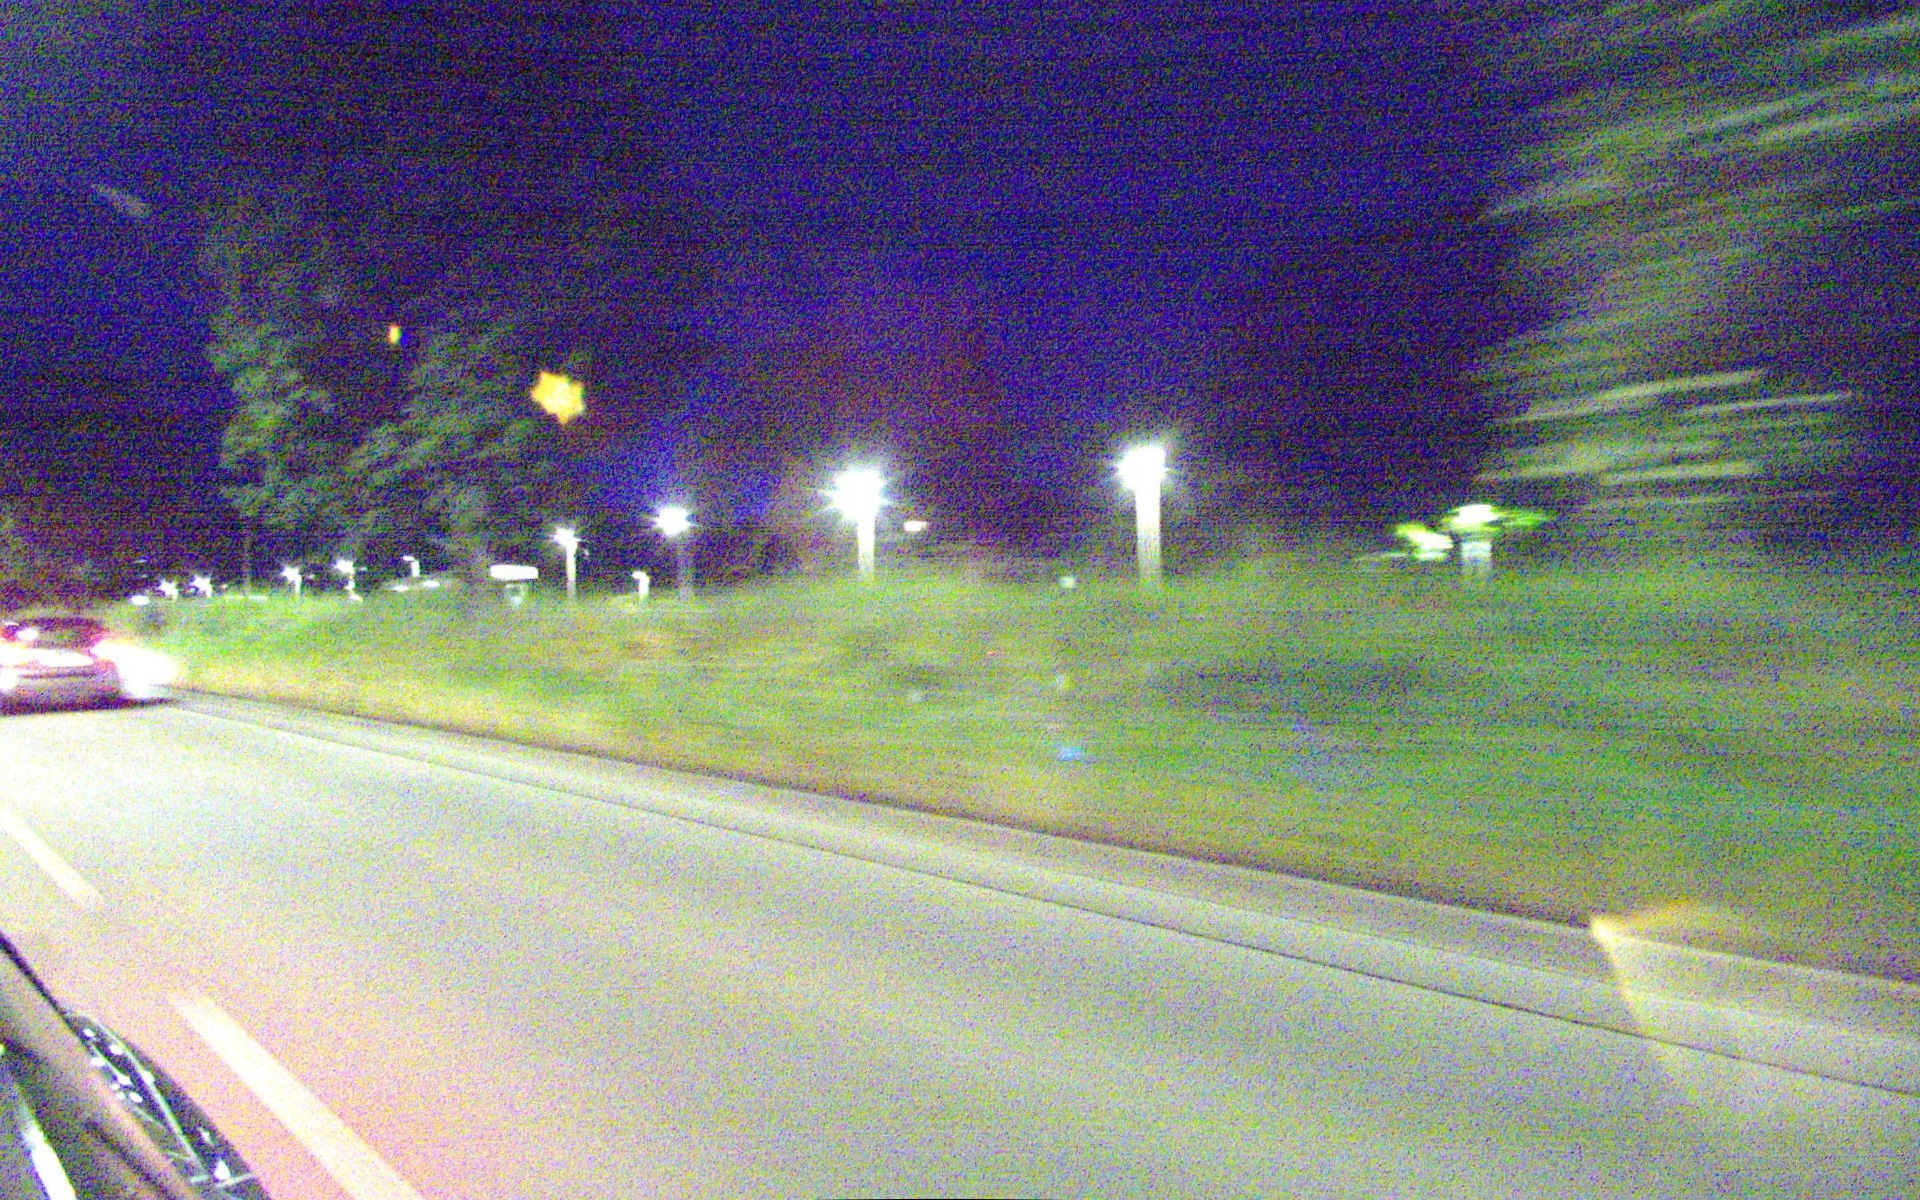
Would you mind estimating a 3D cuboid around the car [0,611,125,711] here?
[{"bbox_3d":[-15.440,0.960,16.981,3.555,1.503,1.630,-1,-1,40],"label":"car"}]
